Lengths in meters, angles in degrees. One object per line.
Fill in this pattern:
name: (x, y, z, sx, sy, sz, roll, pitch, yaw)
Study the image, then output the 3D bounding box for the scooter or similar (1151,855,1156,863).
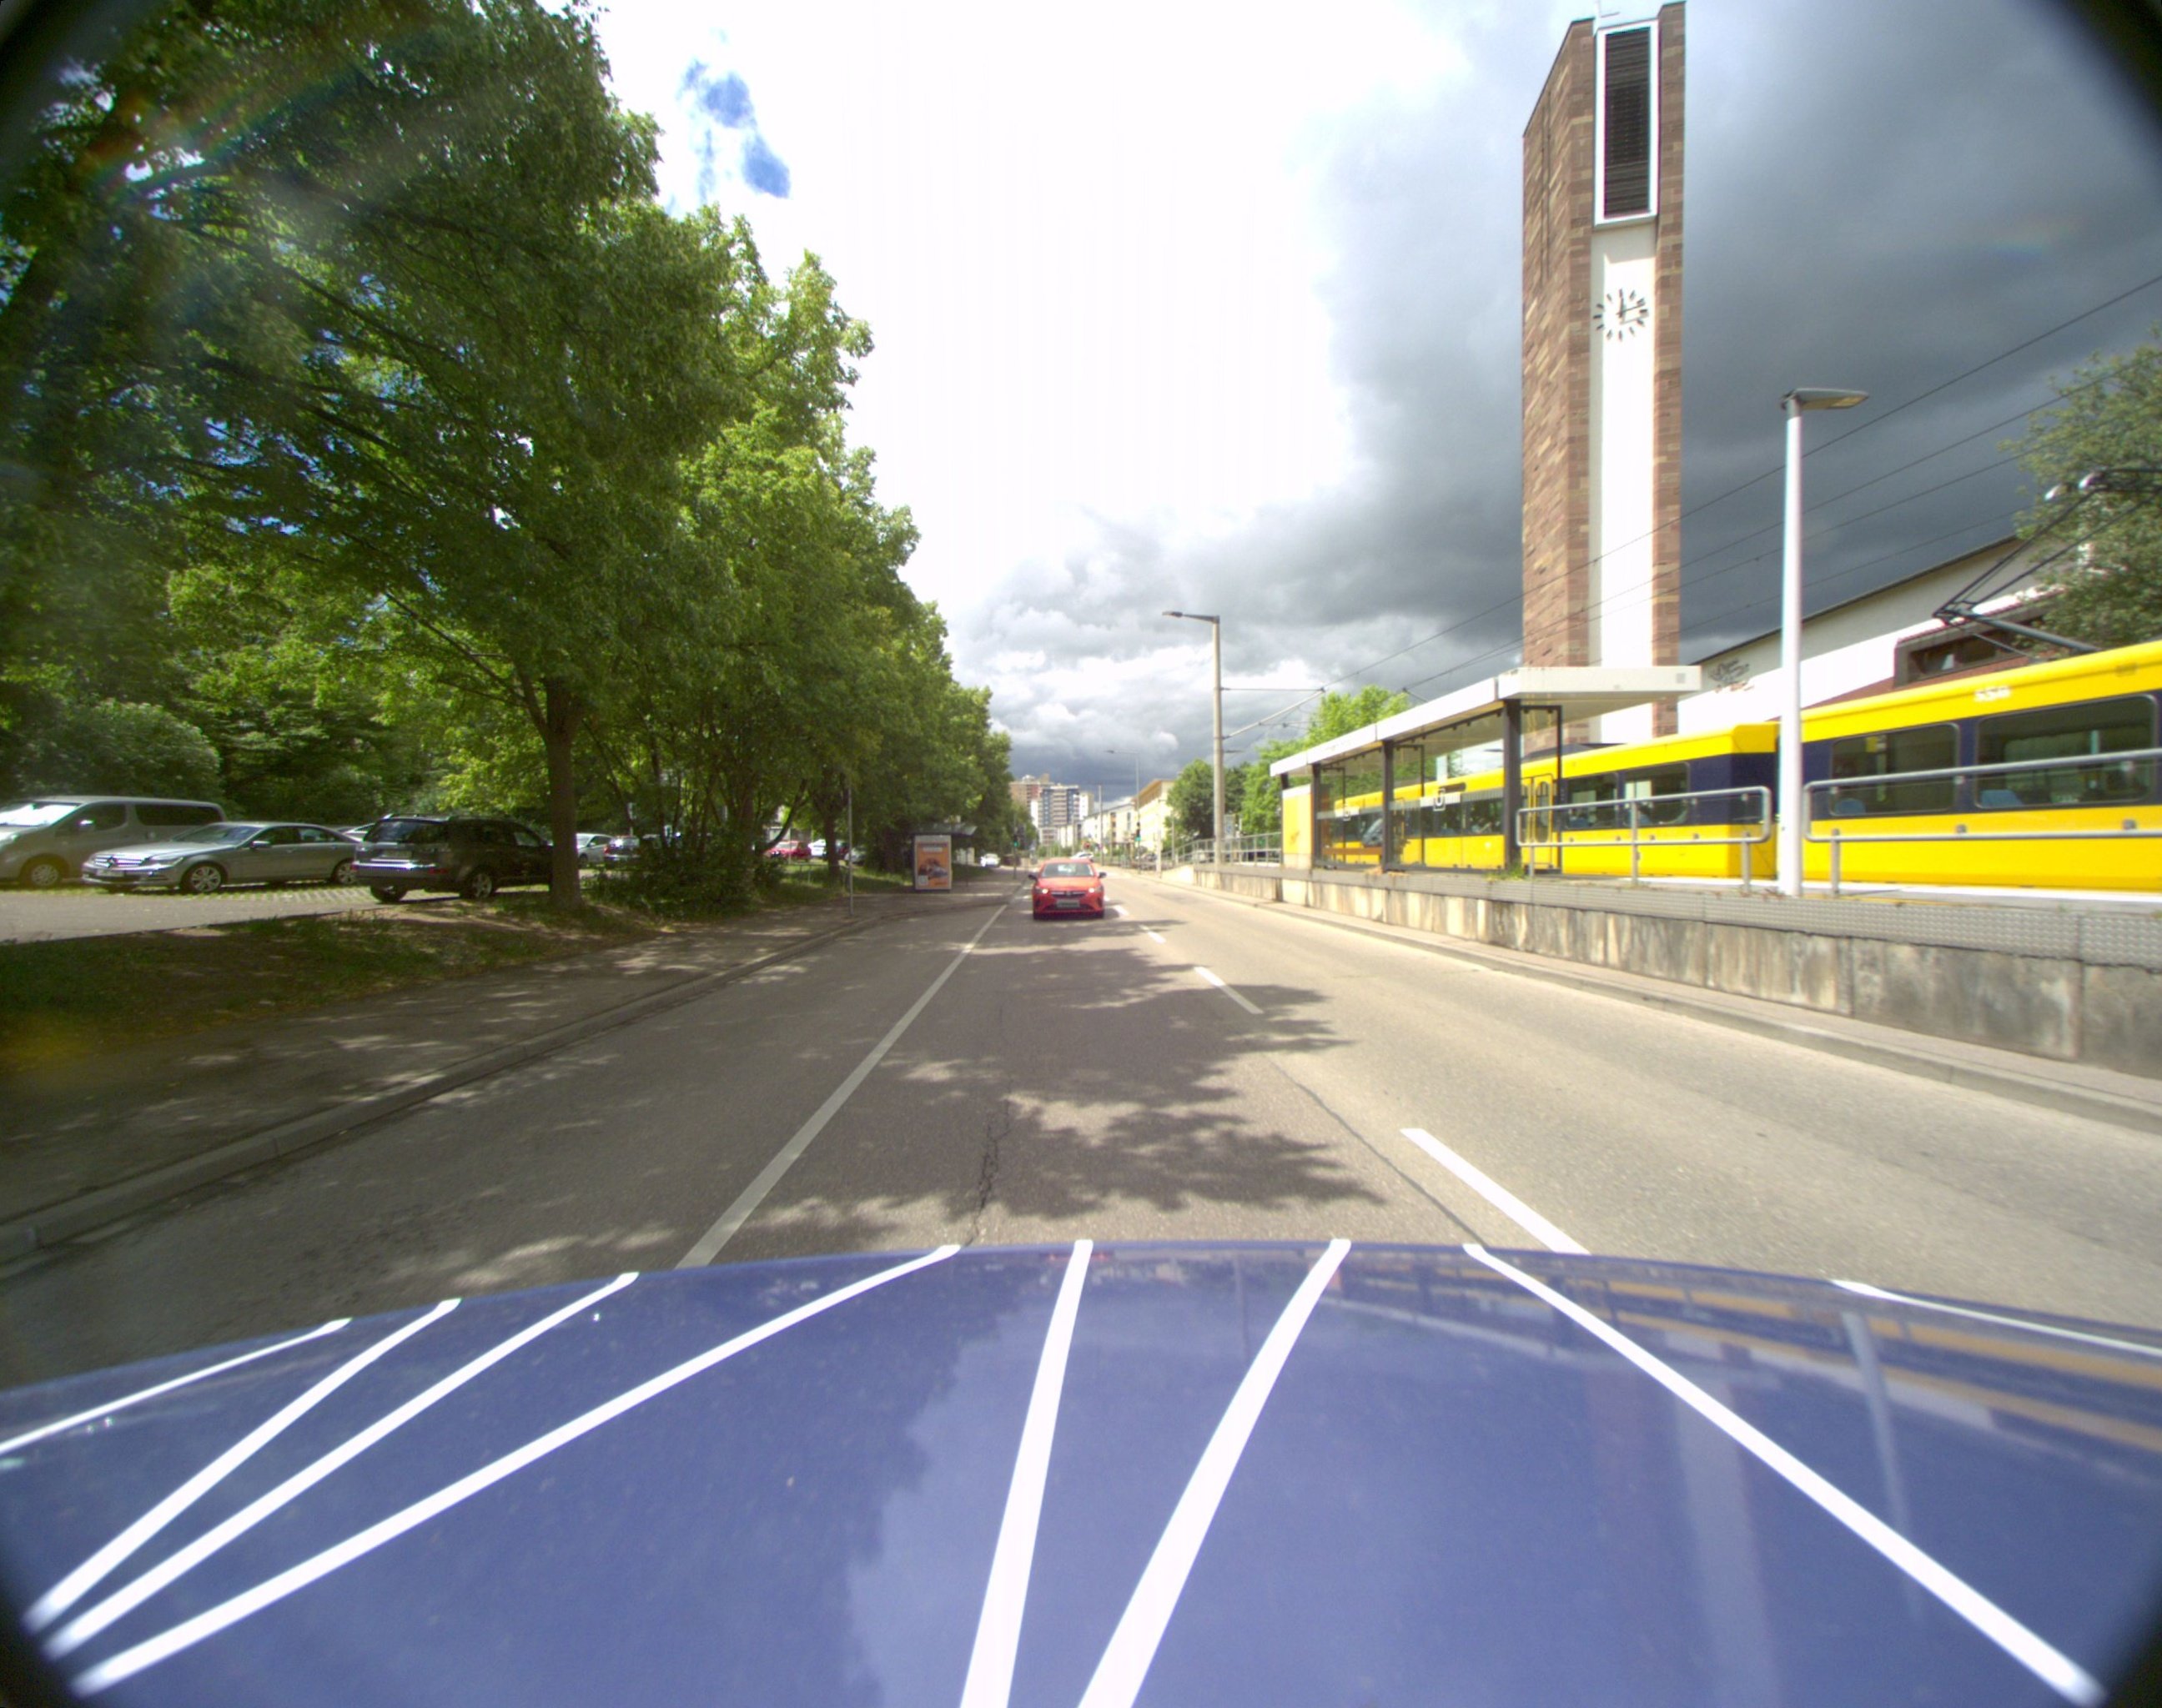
scooter or similar: (11.155, 0.760, 116.270, 0.606, 1.108, 0.820, -2, 1, -4)

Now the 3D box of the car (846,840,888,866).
car: (-13.968, -0.067, 49.816, 1.631, 1.505, 4.137, 3, 0, -2)

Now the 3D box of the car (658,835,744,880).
car: (-16.044, 0.094, 32.352, 1.692, 1.685, 4.259, 3, 2, -3)

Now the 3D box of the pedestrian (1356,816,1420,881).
pedestrian: (5.846, -0.104, 14.516, 0.798, 1.180, 0.919, 1, 0, -3)

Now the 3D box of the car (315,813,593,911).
car: (-12.405, 0.133, 15.566, 1.851, 1.652, 4.723, -1, 0, -2)

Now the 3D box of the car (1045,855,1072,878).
car: (-1.506, 0.788, 50.000, 1.499, 1.477, 3.518, 0, 0, -6)

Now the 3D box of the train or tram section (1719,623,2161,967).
train or tram section: (12.570, -0.636, 3.185, 3.116, 3.444, 18.991, -3, 0, -2)

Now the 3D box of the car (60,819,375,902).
car: (-17.390, 0.118, 15.699, 1.617, 1.433, 4.351, 2, 0, -2)

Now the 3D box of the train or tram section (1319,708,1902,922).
train or tram section: (11.842, -0.676, 22.118, 3.116, 3.444, 18.820, -3, 0, -2)

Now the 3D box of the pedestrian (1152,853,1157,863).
pedestrian: (11.197, 0.564, 115.408, 0.614, 1.531, 0.874, -2, 1, -4)

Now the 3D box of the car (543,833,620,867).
car: (-20.665, -0.192, 31.537, 1.412, 1.295, 2.858, 3, 2, -3)

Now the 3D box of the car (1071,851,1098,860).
car: (0.602, 0.171, 125.307, 4.145, 1.286, 1.628, 3, 0, -26)

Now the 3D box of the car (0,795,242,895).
car: (-20.148, -0.200, 15.424, 1.617, 1.780, 4.207, 2, 0, -2)

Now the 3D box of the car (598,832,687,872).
car: (-18.313, -0.118, 31.923, 1.692, 1.484, 3.791, 3, 2, -3)

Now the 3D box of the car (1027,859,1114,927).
car: (-0.383, 0.905, 19.385, 1.784, 1.433, 4.129, -3, 0, -6)

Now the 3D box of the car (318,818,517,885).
car: (-17.769, -0.042, 20.674, 1.473, 1.546, 4.432, 3, 0, 0)

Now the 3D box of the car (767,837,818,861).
car: (-19.102, -0.301, 50.472, 1.757, 1.469, 4.543, 2, 0, -2)
